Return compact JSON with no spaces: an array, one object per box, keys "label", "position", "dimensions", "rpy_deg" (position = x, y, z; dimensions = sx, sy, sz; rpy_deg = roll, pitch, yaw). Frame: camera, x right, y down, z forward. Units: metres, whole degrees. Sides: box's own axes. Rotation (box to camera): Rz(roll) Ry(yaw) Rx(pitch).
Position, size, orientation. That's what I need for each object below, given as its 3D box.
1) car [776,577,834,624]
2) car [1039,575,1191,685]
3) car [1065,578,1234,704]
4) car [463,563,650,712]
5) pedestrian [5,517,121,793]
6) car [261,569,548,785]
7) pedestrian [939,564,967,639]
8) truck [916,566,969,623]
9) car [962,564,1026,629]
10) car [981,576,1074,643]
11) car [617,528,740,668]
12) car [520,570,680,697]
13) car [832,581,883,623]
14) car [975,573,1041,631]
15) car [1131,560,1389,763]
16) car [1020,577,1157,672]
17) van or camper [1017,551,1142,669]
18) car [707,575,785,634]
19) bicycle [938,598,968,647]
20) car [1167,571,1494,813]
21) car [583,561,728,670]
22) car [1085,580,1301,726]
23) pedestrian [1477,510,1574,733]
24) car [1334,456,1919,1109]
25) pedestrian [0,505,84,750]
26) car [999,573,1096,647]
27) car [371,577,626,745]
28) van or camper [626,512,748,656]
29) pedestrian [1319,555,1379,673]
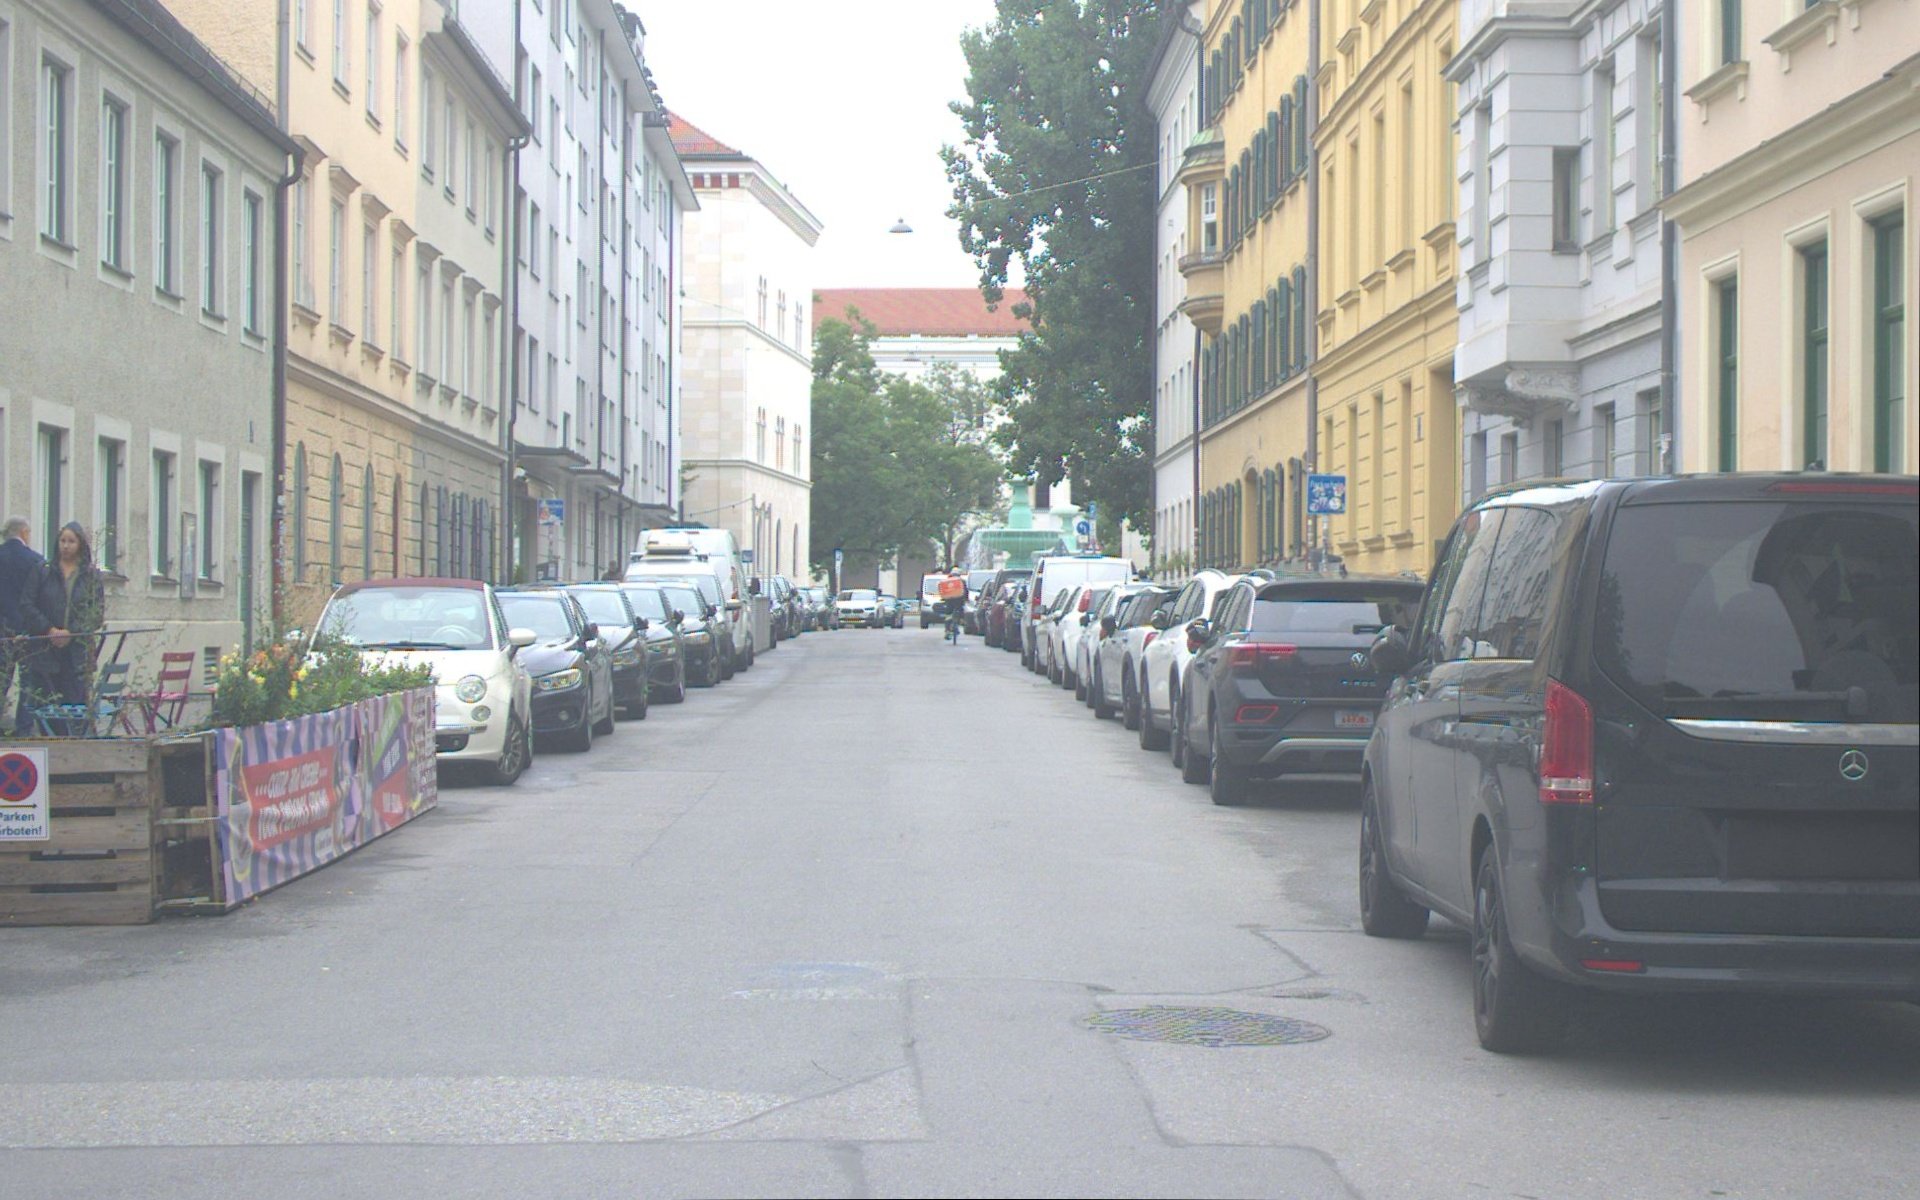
[{"label":"car","position":[-5.359,0.019,119.215],"dimensions":[1.706,1.604,3.863],"rpy_deg":[-1,0,1]},{"label":"car","position":[2.113,0.395,47.894],"dimensions":[1.708,1.449,4.097],"rpy_deg":[1,0,-3]},{"label":"car","position":[2.223,0.461,41.401],"dimensions":[1.708,1.404,4.815],"rpy_deg":[1,0,-1]},{"label":"car","position":[-4.280,0.374,36.962],"dimensions":[1.754,1.491,4.201],"rpy_deg":[1,0,-3]},{"label":"pedestrian","position":[-5.877,0.360,22.549],"dimensions":[0.528,1.776,0.877],"rpy_deg":[0,-1,-1]},{"label":"car","position":[-4.090,0.524,25.804],"dimensions":[1.754,1.470,3.714],"rpy_deg":[1,0,-4]},{"label":"pedestrian","position":[-0.163,0.030,79.040],"dimensions":[0.642,1.708,0.843],"rpy_deg":[0,-1,0]},{"label":"truck","position":[-0.734,-0.215,140.729],"dimensions":[2.121,2.240,6.185],"rpy_deg":[0,-1,0]},{"label":"car","position":[1.004,-0.093,104.318],"dimensions":[1.852,1.913,4.769],"rpy_deg":[0,0,0]},{"label":"car","position":[1.493,0.213,77.528],"dimensions":[1.811,1.420,4.247],"rpy_deg":[2,0,-2]},{"label":"car","position":[-4.268,-0.036,51.991],"dimensions":[1.754,1.988,4.626],"rpy_deg":[1,0,-5]},{"label":"car","position":[-4.338,0.367,41.895],"dimensions":[1.816,1.437,4.132],"rpy_deg":[-1,1,-4]},{"label":"car","position":[-3.970,0.071,133.679],"dimensions":[1.706,1.576,3.863],"rpy_deg":[-1,0,2]},{"label":"car","position":[1.362,0.047,98.443],"dimensions":[1.811,1.609,4.156],"rpy_deg":[0,0,0]},{"label":"car","position":[2.474,0.480,29.324],"dimensions":[1.743,1.578,4.467],"rpy_deg":[1,0,-1]},{"label":"car","position":[1.934,0.356,52.817],"dimensions":[1.708,1.388,4.207],"rpy_deg":[1,0,-3]},{"label":"van or camper","position":[1.963,0.146,57.720],"dimensions":[1.833,1.865,5.079],"rpy_deg":[1,0,-1]},{"label":"car","position":[-5.319,0.106,85.808],"dimensions":[1.817,1.439,3.818],"rpy_deg":[-1,0,-2]},{"label":"bicycle","position":[-0.170,0.525,78.982],"dimensions":[0.675,1.091,1.760],"rpy_deg":[0,-1,0]},{"label":"car","position":[2.487,0.578,24.006],"dimensions":[1.754,1.516,4.274],"rpy_deg":[1,0,-1]},{"label":"car","position":[-4.127,0.195,47.088],"dimensions":[1.754,1.404,4.103],"rpy_deg":[1,0,-2]},{"label":"car","position":[2.350,0.512,35.560],"dimensions":[1.708,1.400,4.208],"rpy_deg":[1,0,-3]},{"label":"pedestrian","position":[5.144,0.201,31.309],"dimensions":[0.669,1.974,0.708],"rpy_deg":[-3,-1,0]},{"label":"car","position":[2.641,0.512,12.527],"dimensions":[1.997,1.858,5.253],"rpy_deg":[1,0,1]},{"label":"pedestrian","position":[-7.375,0.219,26.925],"dimensions":[0.822,1.891,0.827],"rpy_deg":[0,-1,-2]},{"label":"car","position":[1.811,0.210,72.248],"dimensions":[1.811,1.460,4.247],"rpy_deg":[2,0,-1]},{"label":"car","position":[-4.072,0.490,30.981],"dimensions":[1.798,1.335,4.686],"rpy_deg":[1,1,-2]},{"label":"van or camper","position":[-4.508,-0.263,57.387],"dimensions":[1.754,2.273,5.273],"rpy_deg":[1,0,-2]},{"label":"pedestrian","position":[5.285,0.188,46.781],"dimensions":[0.660,1.566,0.642],"rpy_deg":[-3,-1,-1]}]
